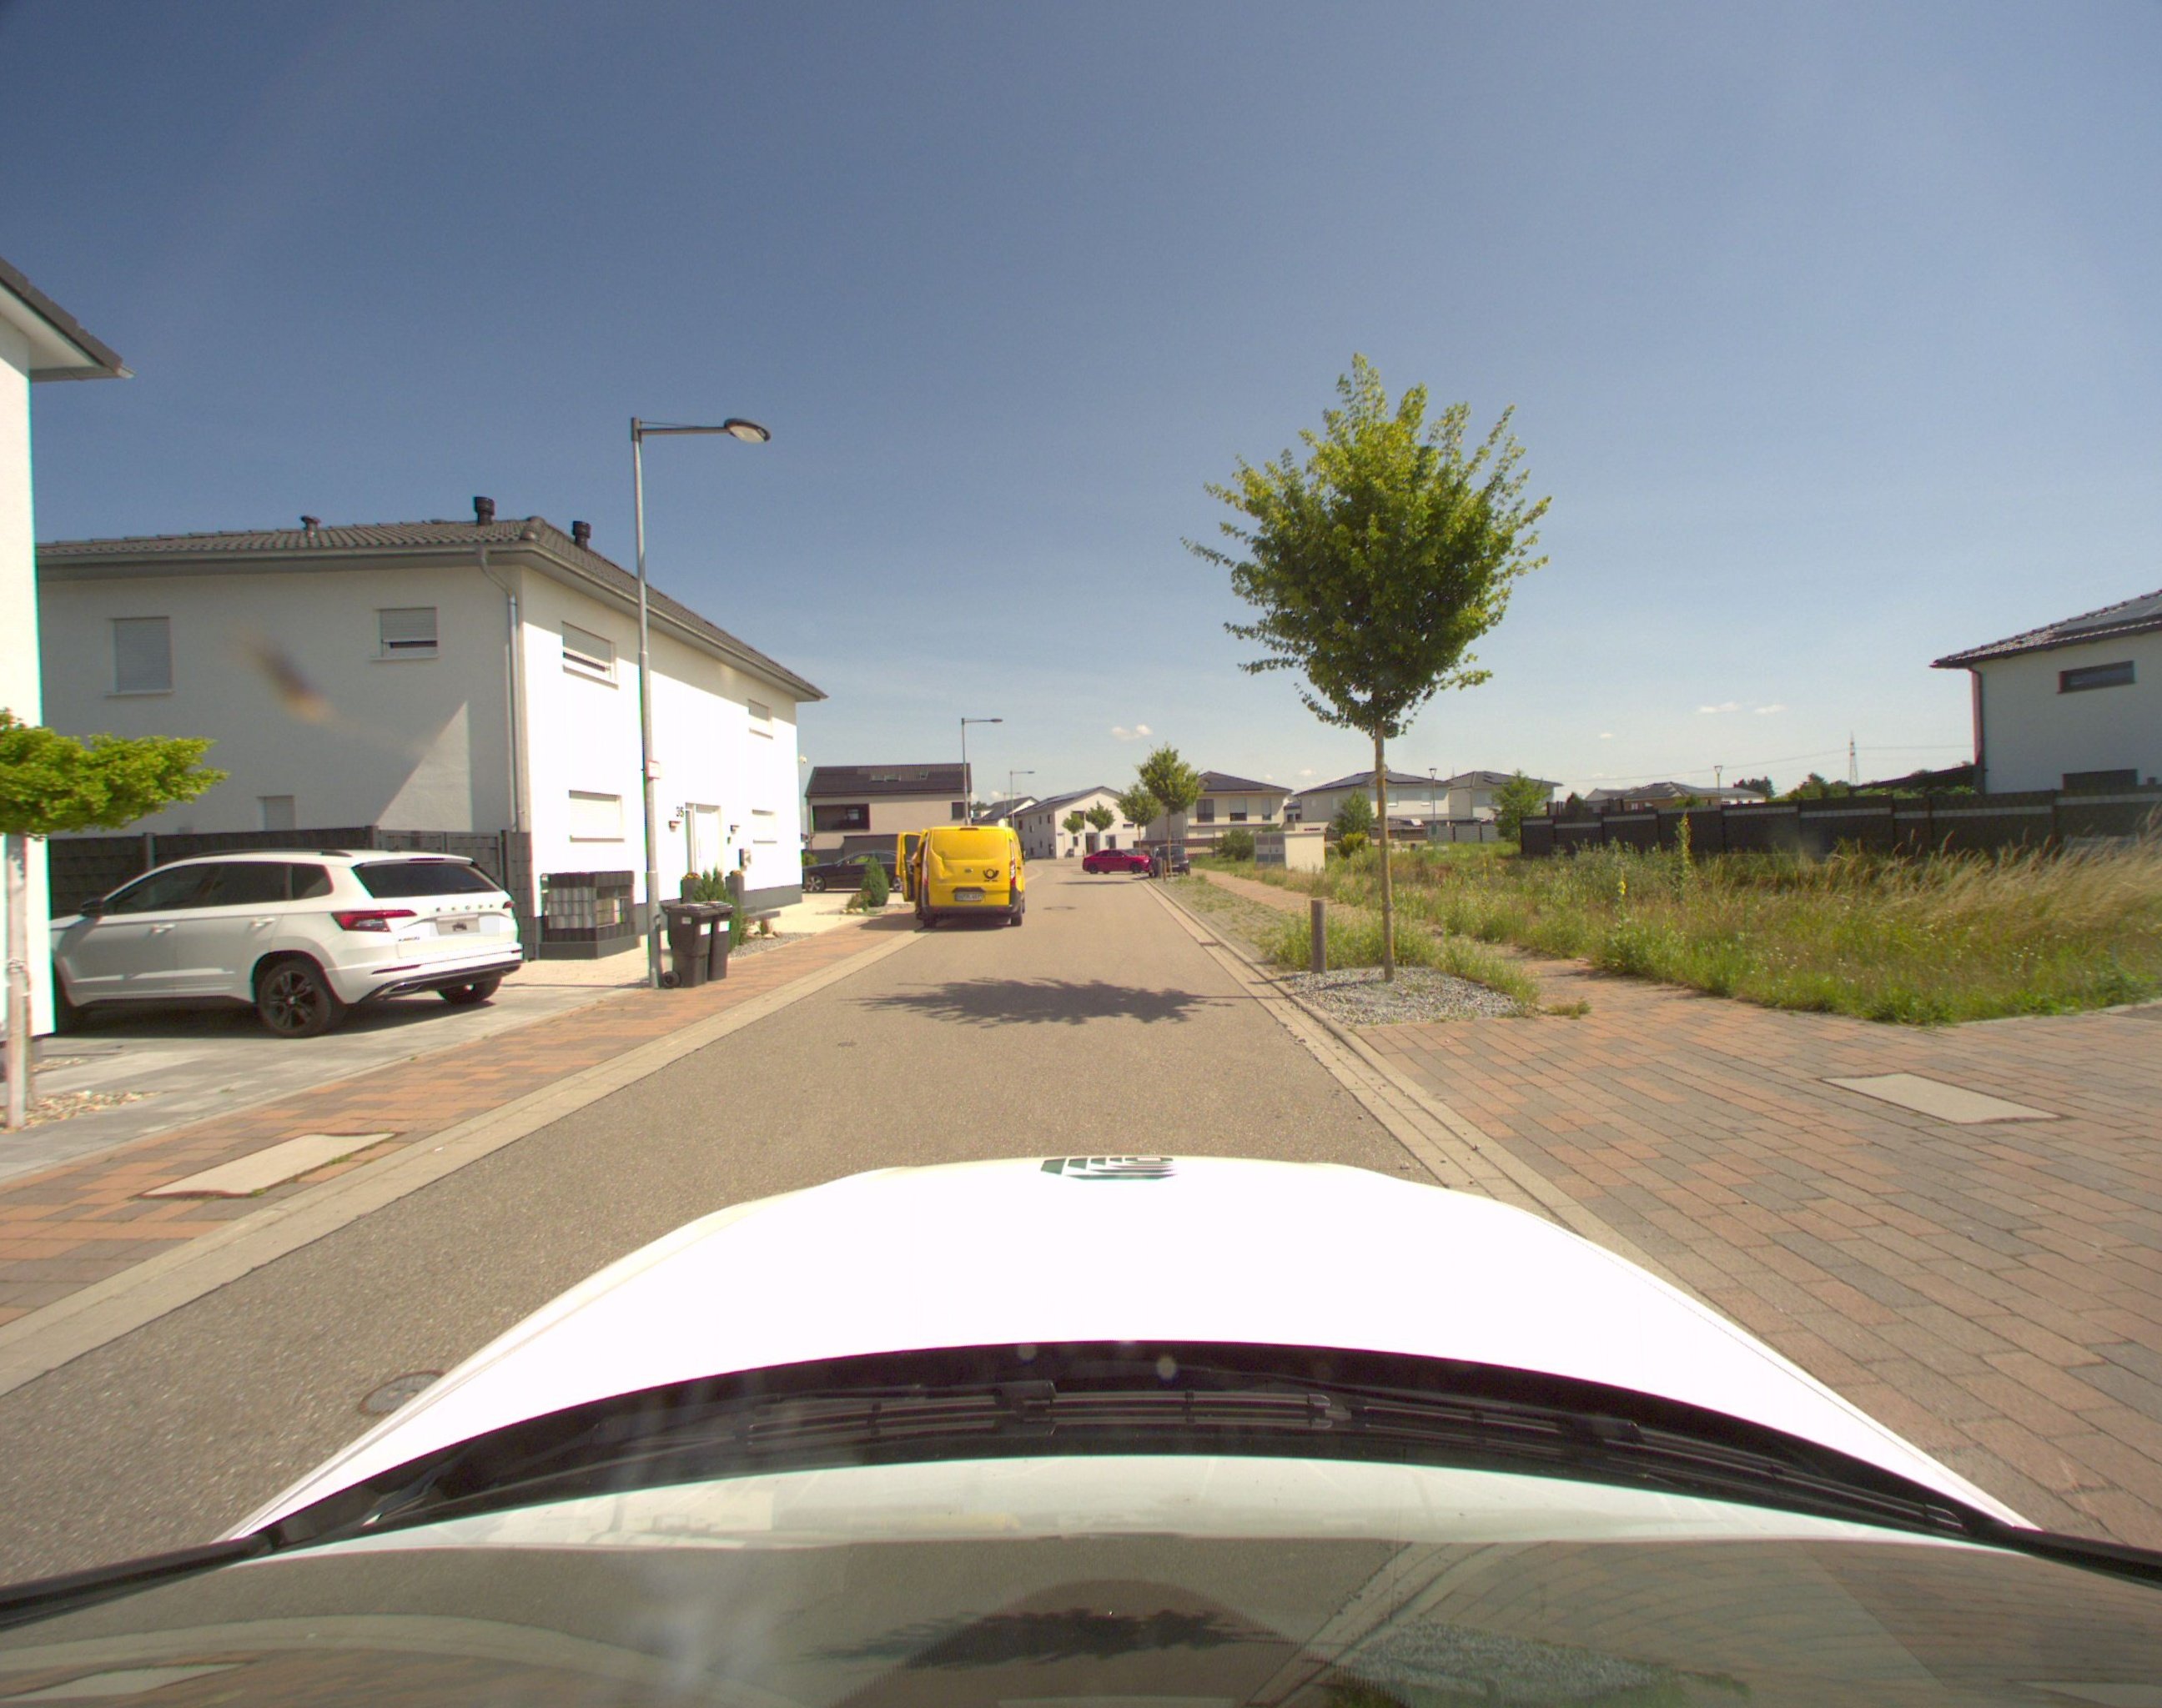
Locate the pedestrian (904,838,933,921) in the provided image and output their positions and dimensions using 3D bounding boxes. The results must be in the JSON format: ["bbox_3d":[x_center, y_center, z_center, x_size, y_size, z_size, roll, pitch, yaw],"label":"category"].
[{"bbox_3d":[-3.485,0.538,17.513,0.530,1.738,0.569,-1,0,-5],"label":"pedestrian"}]

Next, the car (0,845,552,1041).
[{"bbox_3d":[-7.603,0.766,7.805,3.935,1.619,1.797,-1,0,6],"label":"car"}]

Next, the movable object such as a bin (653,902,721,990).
[{"bbox_3d":[-4.510,1.040,9.346,0.484,0.925,0.530,-2,0,-2],"label":"movable object such as a bin"}]

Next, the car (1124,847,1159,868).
[{"bbox_3d":[4.159,0.235,56.460,1.751,1.363,4.569,-1,0,-4],"label":"car"}]

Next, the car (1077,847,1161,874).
[{"bbox_3d":[2.163,0.380,46.928,4.462,1.438,1.779,-1,0,29],"label":"car"}]

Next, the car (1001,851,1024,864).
[{"bbox_3d":[-8.308,0.468,98.611,1.732,1.422,3.974,-3,1,-19],"label":"car"}]

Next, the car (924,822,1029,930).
[{"bbox_3d":[-2.121,0.403,17.749,1.880,2.013,4.836,0,0,-3],"label":"car"}]

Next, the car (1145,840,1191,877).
[{"bbox_3d":[3.946,0.176,37.455,1.593,1.475,3.674,-4,1,0],"label":"car"}]

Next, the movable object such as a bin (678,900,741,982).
[{"bbox_3d":[-4.509,1.043,9.908,0.484,0.925,0.530,-2,0,-2],"label":"movable object such as a bin"}]

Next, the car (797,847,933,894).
[{"bbox_3d":[-7.397,0.543,28.186,4.396,1.452,1.742,-1,0,-13],"label":"car"}]
